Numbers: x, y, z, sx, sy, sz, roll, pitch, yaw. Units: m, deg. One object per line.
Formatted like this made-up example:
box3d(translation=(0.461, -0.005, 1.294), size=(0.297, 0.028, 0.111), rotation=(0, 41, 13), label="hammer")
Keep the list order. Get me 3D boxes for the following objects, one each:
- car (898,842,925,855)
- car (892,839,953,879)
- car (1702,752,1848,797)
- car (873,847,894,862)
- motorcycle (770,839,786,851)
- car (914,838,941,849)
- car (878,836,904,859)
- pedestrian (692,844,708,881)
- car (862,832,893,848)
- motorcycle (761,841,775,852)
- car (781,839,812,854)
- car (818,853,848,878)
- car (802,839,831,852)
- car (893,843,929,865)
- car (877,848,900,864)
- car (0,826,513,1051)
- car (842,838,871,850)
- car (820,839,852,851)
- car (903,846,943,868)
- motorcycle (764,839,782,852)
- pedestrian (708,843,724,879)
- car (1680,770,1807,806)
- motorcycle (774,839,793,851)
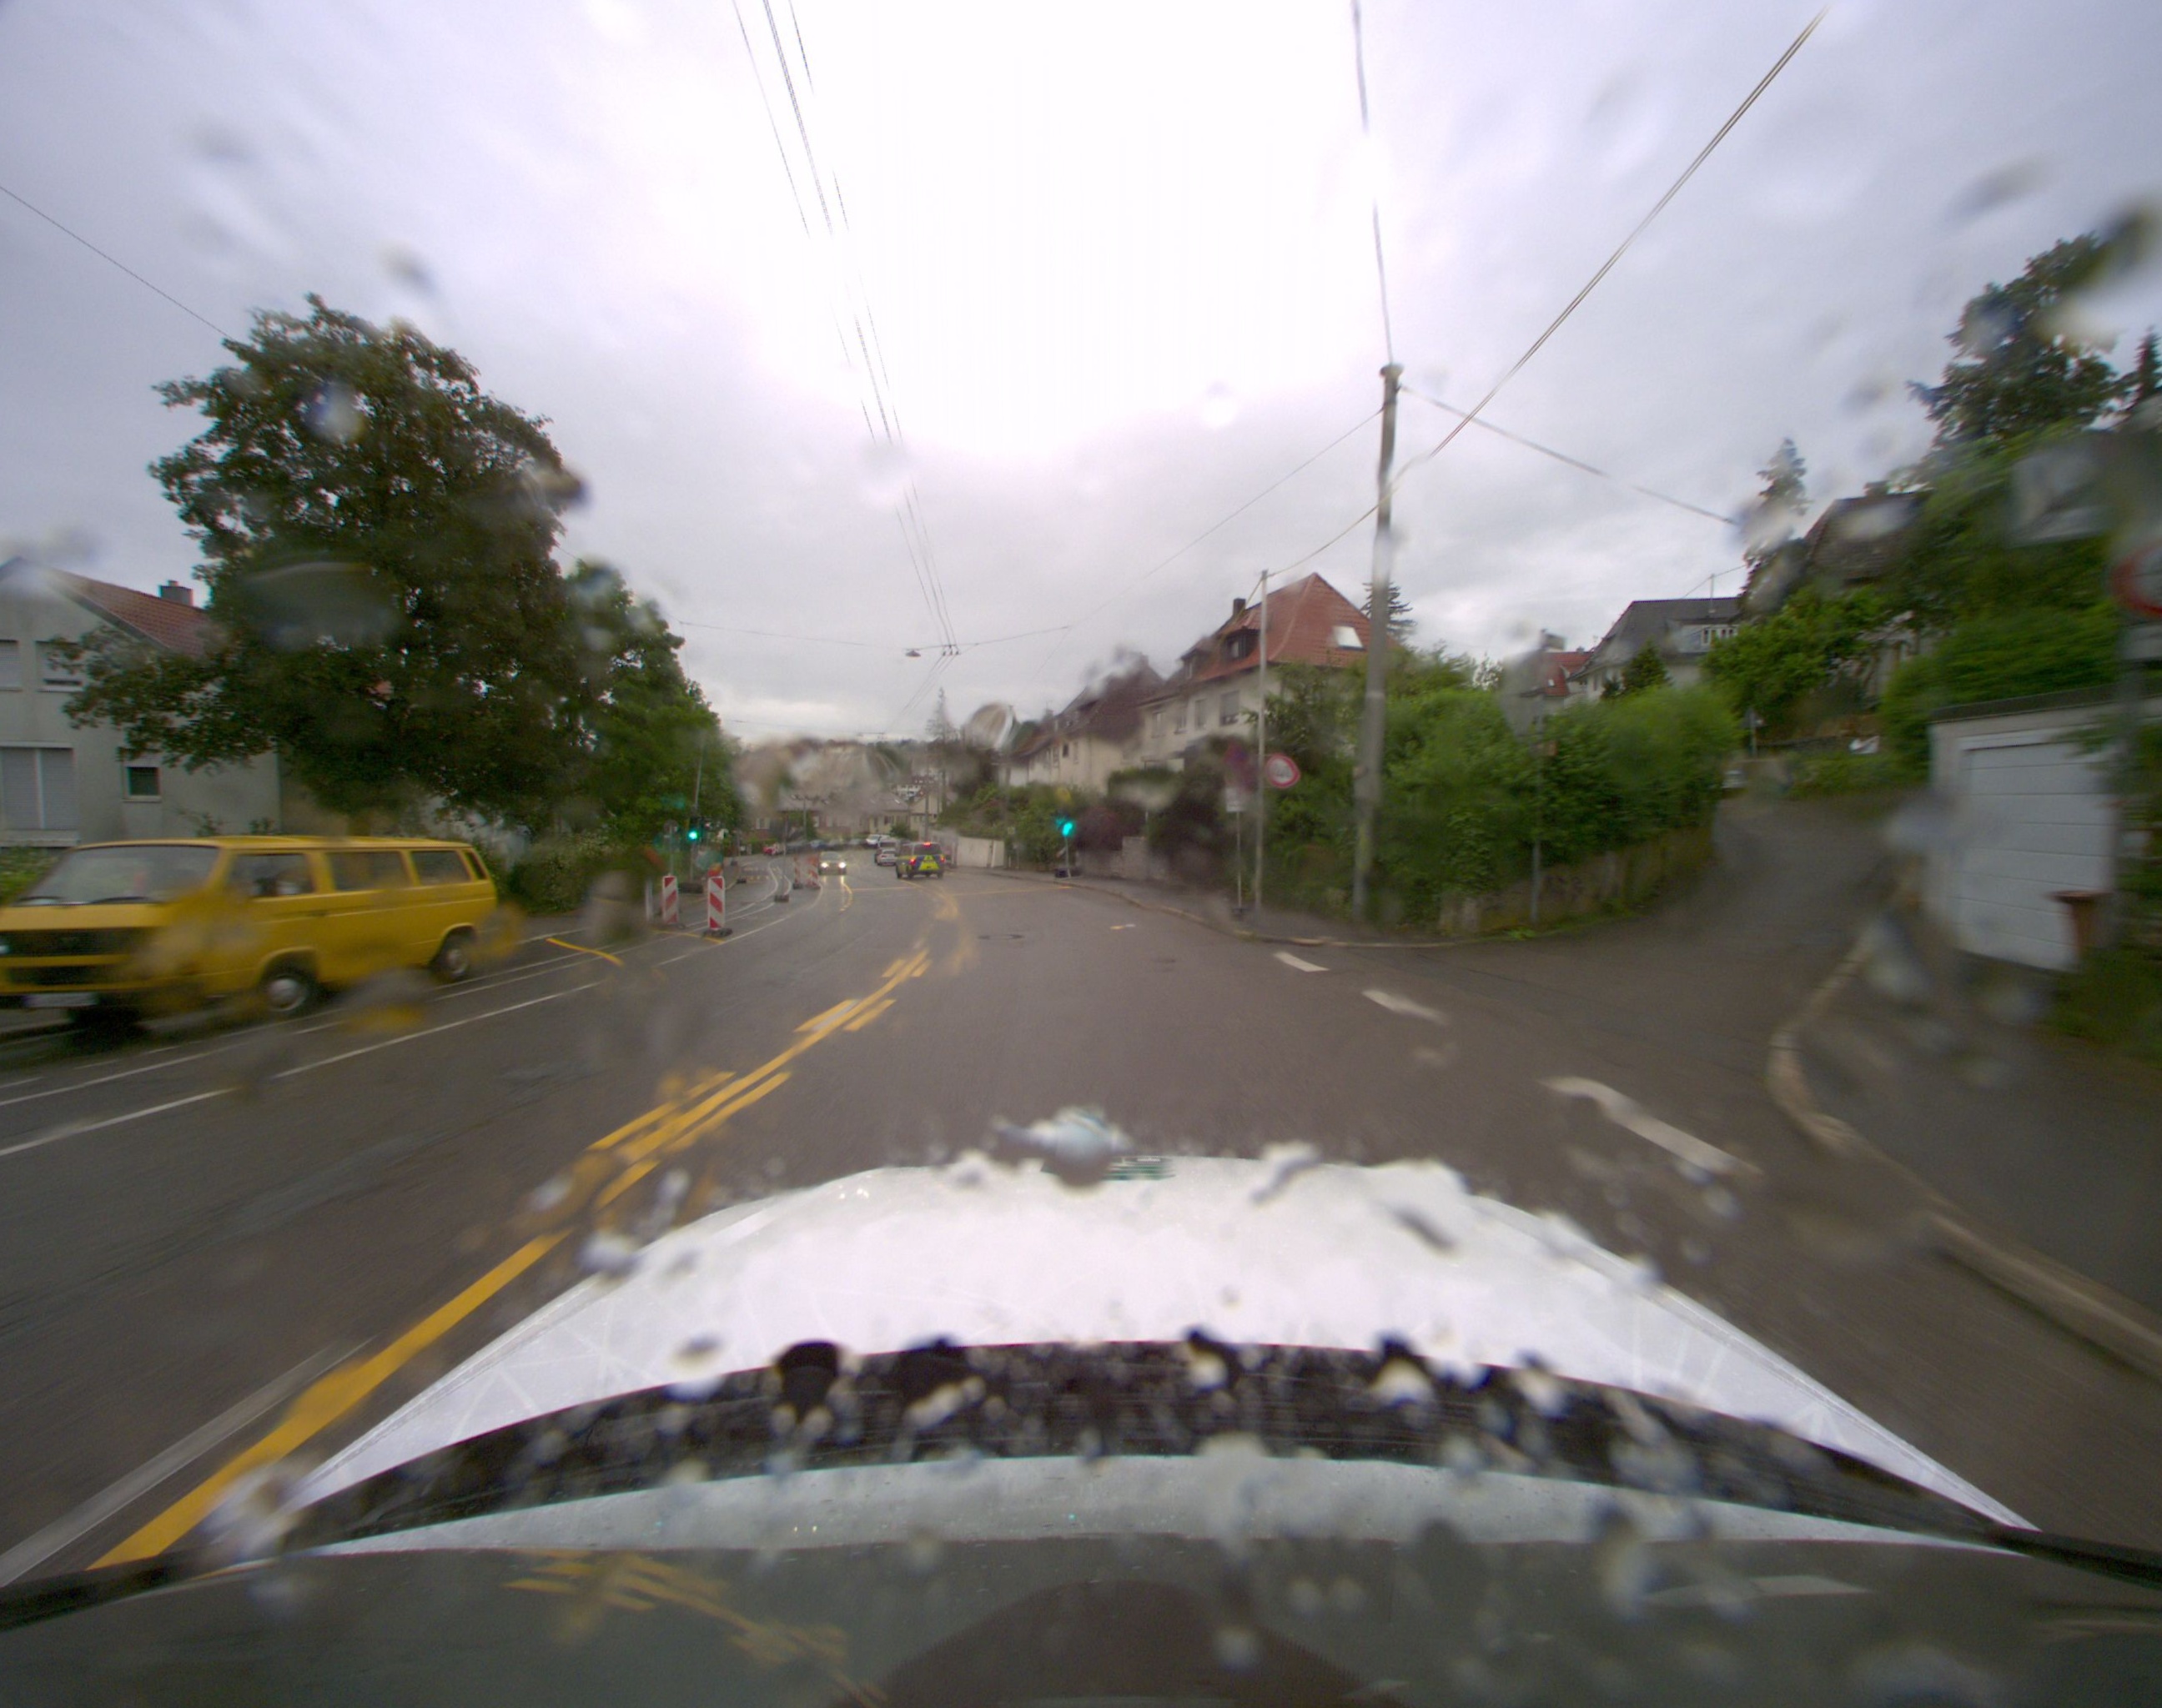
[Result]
box3d(translation=(-21.902, -0.722, 105.450), size=(1.667, 1.483, 4.216), rotation=(3, 2, 13), label="car")
box3d(translation=(-8.722, 0.227, 44.540), size=(2.319, 1.939, 4.291), rotation=(-4, 2, -24), label="car")
box3d(translation=(25.632, -2.910, 30.152), size=(3.985, 1.385, 1.994), rotation=(0, -1, -9), label="car")
box3d(translation=(-20.605, 0.053, 85.161), size=(1.753, 1.495, 4.171), rotation=(0, 1, -9), label="car")
box3d(translation=(-33.812, -0.999, 90.975), size=(1.785, 1.303, 0.617), rotation=(4, 2, 28), label="motorcycle")
box3d(translation=(-24.719, -1.711, 131.668), size=(1.912, 1.630, 4.704), rotation=(4, 2, 23), label="car")
box3d(translation=(-21.162, -0.757, 90.873), size=(2.095, 2.542, 5.611), rotation=(0, 1, -5), label="car")
box3d(translation=(-19.403, 0.421, 41.469), size=(0.683, 1.816, 1.147), rotation=(0, 1, -23), label="pedestrian")
box3d(translation=(-29.657, -2.042, 118.609), size=(1.833, 2.078, 5.045), rotation=(3, 2, 19), label="car")
box3d(translation=(-33.911, -0.782, 88.287), size=(0.507, 1.139, 1.926), rotation=(0, 2, 7), label="motorcycle")
box3d(translation=(-33.704, -0.929, 96.646), size=(1.915, 1.576, 4.390), rotation=(3, 2, 1), label="car")
box3d(translation=(-16.376, 0.713, 53.740), size=(1.704, 1.461, 4.654), rotation=(-2, 1, -19), label="car")
box3d(translation=(-33.153, -1.090, 102.057), size=(1.691, 1.404, 4.481), rotation=(3, 3, 6), label="car")
box3d(translation=(-12.630, -0.024, 60.477), size=(1.722, 1.513, 3.967), rotation=(-1, 1, -25), label="car")
box3d(translation=(-17.445, 0.140, 73.713), size=(1.710, 1.414, 4.016), rotation=(-1, 1, -19), label="car")
box3d(translation=(-9.058, 0.744, 9.498), size=(1.799, 1.928, 4.572), rotation=(-2, 0, -3), label="car")
box3d(translation=(-31.088, -1.376, 112.940), size=(1.796, 1.476, 4.539), rotation=(3, 2, 13), label="car")
box3d(translation=(-32.301, -1.219, 107.449), size=(1.795, 1.476, 4.541), rotation=(3, 2, 15), label="car")
box3d(translation=(-10.885, 0.201, 55.876), size=(1.789, 1.420, 4.397), rotation=(-2, 1, -22), label="car")
box3d(translation=(-33.995, -0.930, 89.976), size=(1.796, 1.279, 0.511), rotation=(2, 2, -1), label="motorcycle")
box3d(translation=(-18.722, 0.333, 41.810), size=(0.710, 1.816, 1.139), rotation=(0, 1, -23), label="pedestrian")
box3d(translation=(29.602, -2.926, 36.515), size=(3.965, 1.385, 2.004), rotation=(0, -1, 7), label="car")
box3d(translation=(-33.815, -1.064, 92.558), size=(1.913, 1.271, 0.570), rotation=(2, 2, -32), label="motorcycle")
